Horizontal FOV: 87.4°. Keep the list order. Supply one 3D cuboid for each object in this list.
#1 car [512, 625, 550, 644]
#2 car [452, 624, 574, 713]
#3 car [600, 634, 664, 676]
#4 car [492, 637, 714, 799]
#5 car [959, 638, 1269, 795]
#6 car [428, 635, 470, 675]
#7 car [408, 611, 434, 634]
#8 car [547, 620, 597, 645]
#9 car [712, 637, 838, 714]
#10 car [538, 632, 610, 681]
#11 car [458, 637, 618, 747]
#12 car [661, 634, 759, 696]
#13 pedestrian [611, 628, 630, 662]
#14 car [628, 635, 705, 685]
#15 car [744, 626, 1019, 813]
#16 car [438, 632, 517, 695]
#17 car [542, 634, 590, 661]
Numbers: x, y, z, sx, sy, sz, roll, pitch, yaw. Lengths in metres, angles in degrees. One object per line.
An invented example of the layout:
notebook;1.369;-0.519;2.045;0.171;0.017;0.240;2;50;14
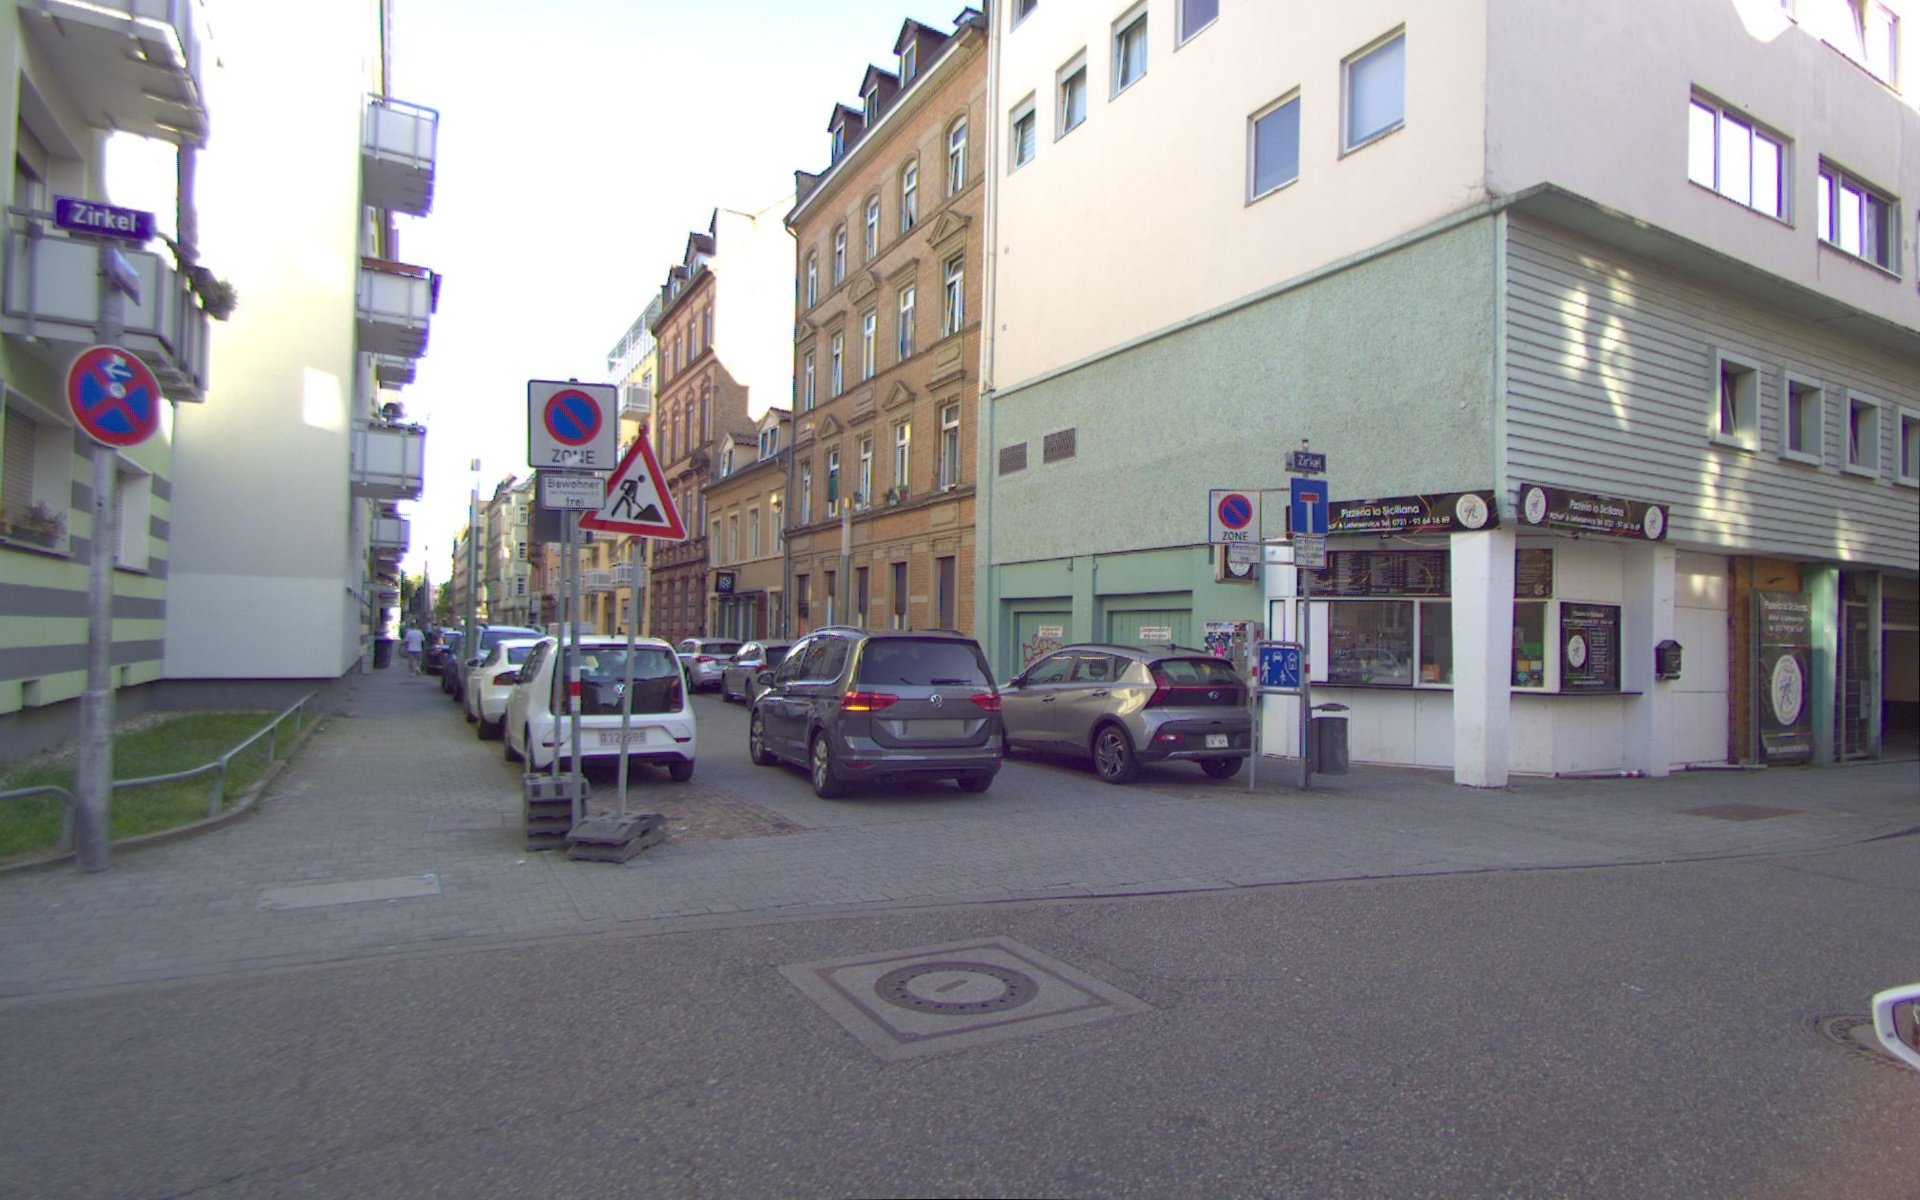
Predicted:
car;-27.741;2.219;64.948;1.768;1.202;3.055;1;-2;-33
car;-9.284;1.312;20.695;1.740;1.632;4.111;1;-2;-32
car;-12.263;2.011;37.437;1.764;1.426;3.462;1;-2;-27
car;-4.048;1.164;11.084;1.705;1.456;3.318;2;-2;-30
car;1.688;1.270;12.274;1.673;1.540;3.913;2;-2;-30
car;-17.586;1.863;34.652;1.242;1.307;3.064;0;-1;-26
car;-38.737;1.628;72.249;1.566;1.527;3.873;2;-2;-28
car;-19.466;1.627;50.331;1.768;1.202;3.055;1;-2;-33
car;-4.254;1.620;22.603;1.764;1.501;3.886;1;-2;-27
car;-11.879;1.698;30.763;1.566;1.400;3.873;2;-2;-28
car;-6.692;1.323;15.660;1.739;1.416;4.294;3;-3;-30
car;-6.879;1.712;27.409;1.764;1.501;3.886;1;-2;-27
pedestrian;-16.610;2.193;49.104;0.683;1.602;0.630;2;0;-32
car;-9.800;1.931;33.358;1.764;1.501;3.886;1;-2;-27
car;-1.062;1.102;10.843;1.761;1.589;4.148;2;-2;-22
car;-11.984;1.509;24.846;1.469;1.408;3.377;1;-2;-31
car;-18.080;2.154;46.071;1.455;1.202;3.055;1;-2;-33
